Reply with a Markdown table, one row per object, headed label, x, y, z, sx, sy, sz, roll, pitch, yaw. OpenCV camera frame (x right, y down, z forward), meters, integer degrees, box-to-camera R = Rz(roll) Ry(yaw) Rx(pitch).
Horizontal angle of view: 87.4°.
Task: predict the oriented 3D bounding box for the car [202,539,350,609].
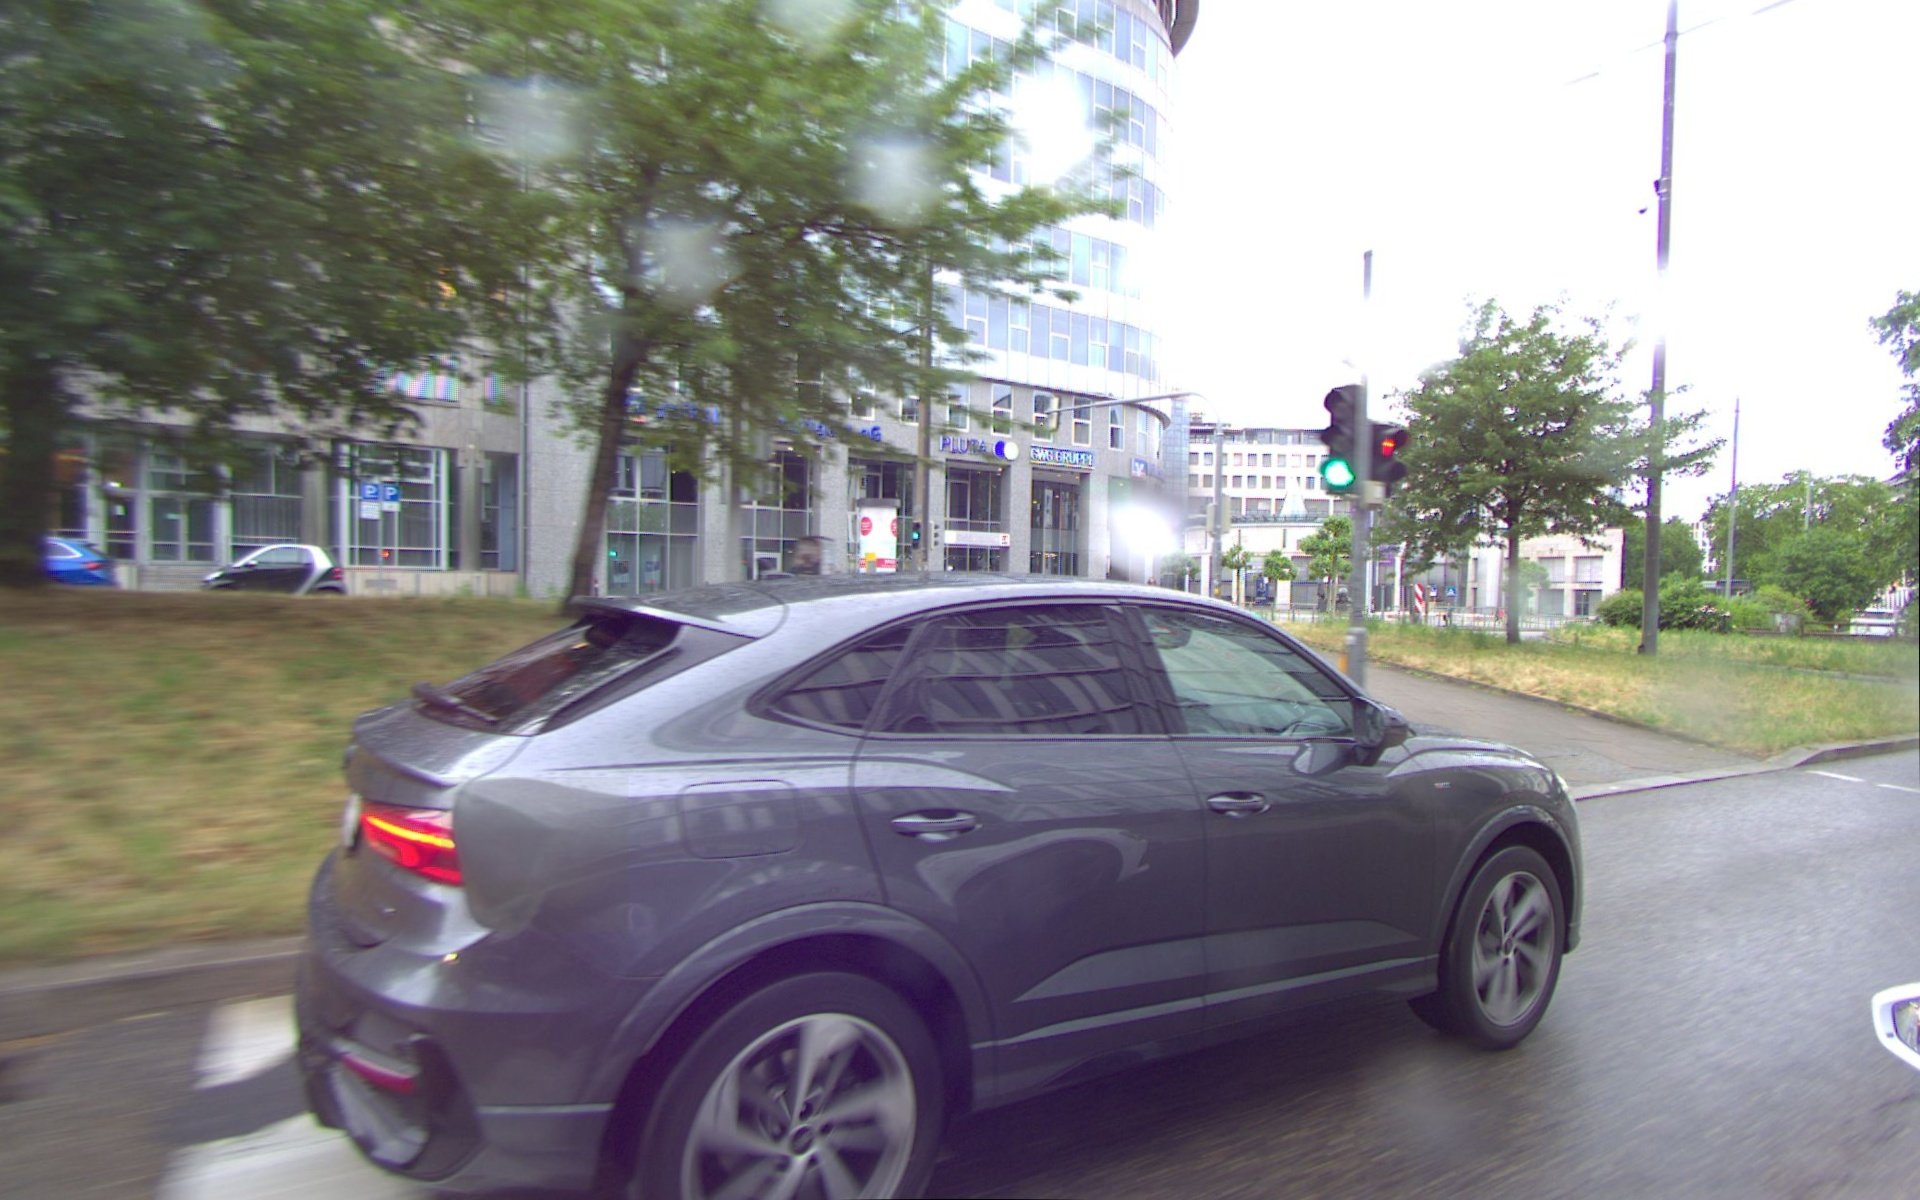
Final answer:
| label | x | y | z | sx | sy | sz | roll | pitch | yaw |
| --- | --- | --- | --- | --- | --- | --- | --- | --- | --- |
| car | -15.012 | -0.566 | 22.167 | 2.599 | 1.404 | 1.233 | 2 | 3 | -33 |

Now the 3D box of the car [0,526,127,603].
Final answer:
| label | x | y | z | sx | sy | sz | roll | pitch | yaw |
| --- | --- | --- | --- | --- | --- | --- | --- | --- | --- |
| car | -18.968 | -0.735 | 19.417 | 4.280 | 1.404 | 1.663 | 2 | 3 | -37 |

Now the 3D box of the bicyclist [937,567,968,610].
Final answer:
| label | x | y | z | sx | sy | sz | roll | pitch | yaw |
| --- | --- | --- | --- | --- | --- | --- | --- | --- | --- |
| bicyclist | -0.321 | -0.493 | 42.096 | 1.031 | 1.764 | 0.732 | 1 | 0 | -34 |

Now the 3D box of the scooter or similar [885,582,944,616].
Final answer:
| label | x | y | z | sx | sy | sz | roll | pitch | yaw |
| --- | --- | --- | --- | --- | --- | --- | --- | --- | --- |
| scooter or similar | -1.750 | -0.021 | 38.802 | 2.225 | 1.229 | 0.767 | 2 | 1 | -36 |

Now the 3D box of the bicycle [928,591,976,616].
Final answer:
| label | x | y | z | sx | sy | sz | roll | pitch | yaw |
| --- | --- | --- | --- | --- | --- | --- | --- | --- | --- |
| bicycle | -0.318 | 0.144 | 42.110 | 1.914 | 1.020 | 0.739 | 2 | 0 | -34 |

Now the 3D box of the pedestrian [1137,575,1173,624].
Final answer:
| label | x | y | z | sx | sy | sz | roll | pitch | yaw |
| --- | --- | --- | --- | --- | --- | --- | --- | --- | --- |
| pedestrian | 8.362 | -0.036 | 43.056 | 1.029 | 2.040 | 1.041 | 2 | 0 | -45 |

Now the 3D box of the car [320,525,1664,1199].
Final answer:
| label | x | y | z | sx | sy | sz | roll | pitch | yaw |
| --- | --- | --- | --- | --- | --- | --- | --- | --- | --- |
| car | 0.362 | 0.689 | 3.485 | 4.297 | 1.538 | 1.850 | 2 | 1 | -32 |

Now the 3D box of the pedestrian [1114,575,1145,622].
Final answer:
| label | x | y | z | sx | sy | sz | roll | pitch | yaw |
| --- | --- | --- | --- | --- | --- | --- | --- | --- | --- |
| pedestrian | 7.417 | -0.067 | 43.891 | 0.841 | 2.040 | 1.029 | 2 | 0 | 45 |

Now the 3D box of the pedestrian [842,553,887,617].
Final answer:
| label | x | y | z | sx | sy | sz | roll | pitch | yaw |
| --- | --- | --- | --- | --- | --- | --- | --- | --- | --- |
| pedestrian | -2.951 | -0.457 | 30.985 | 0.927 | 1.906 | 0.946 | 2 | 0 | -45 |
